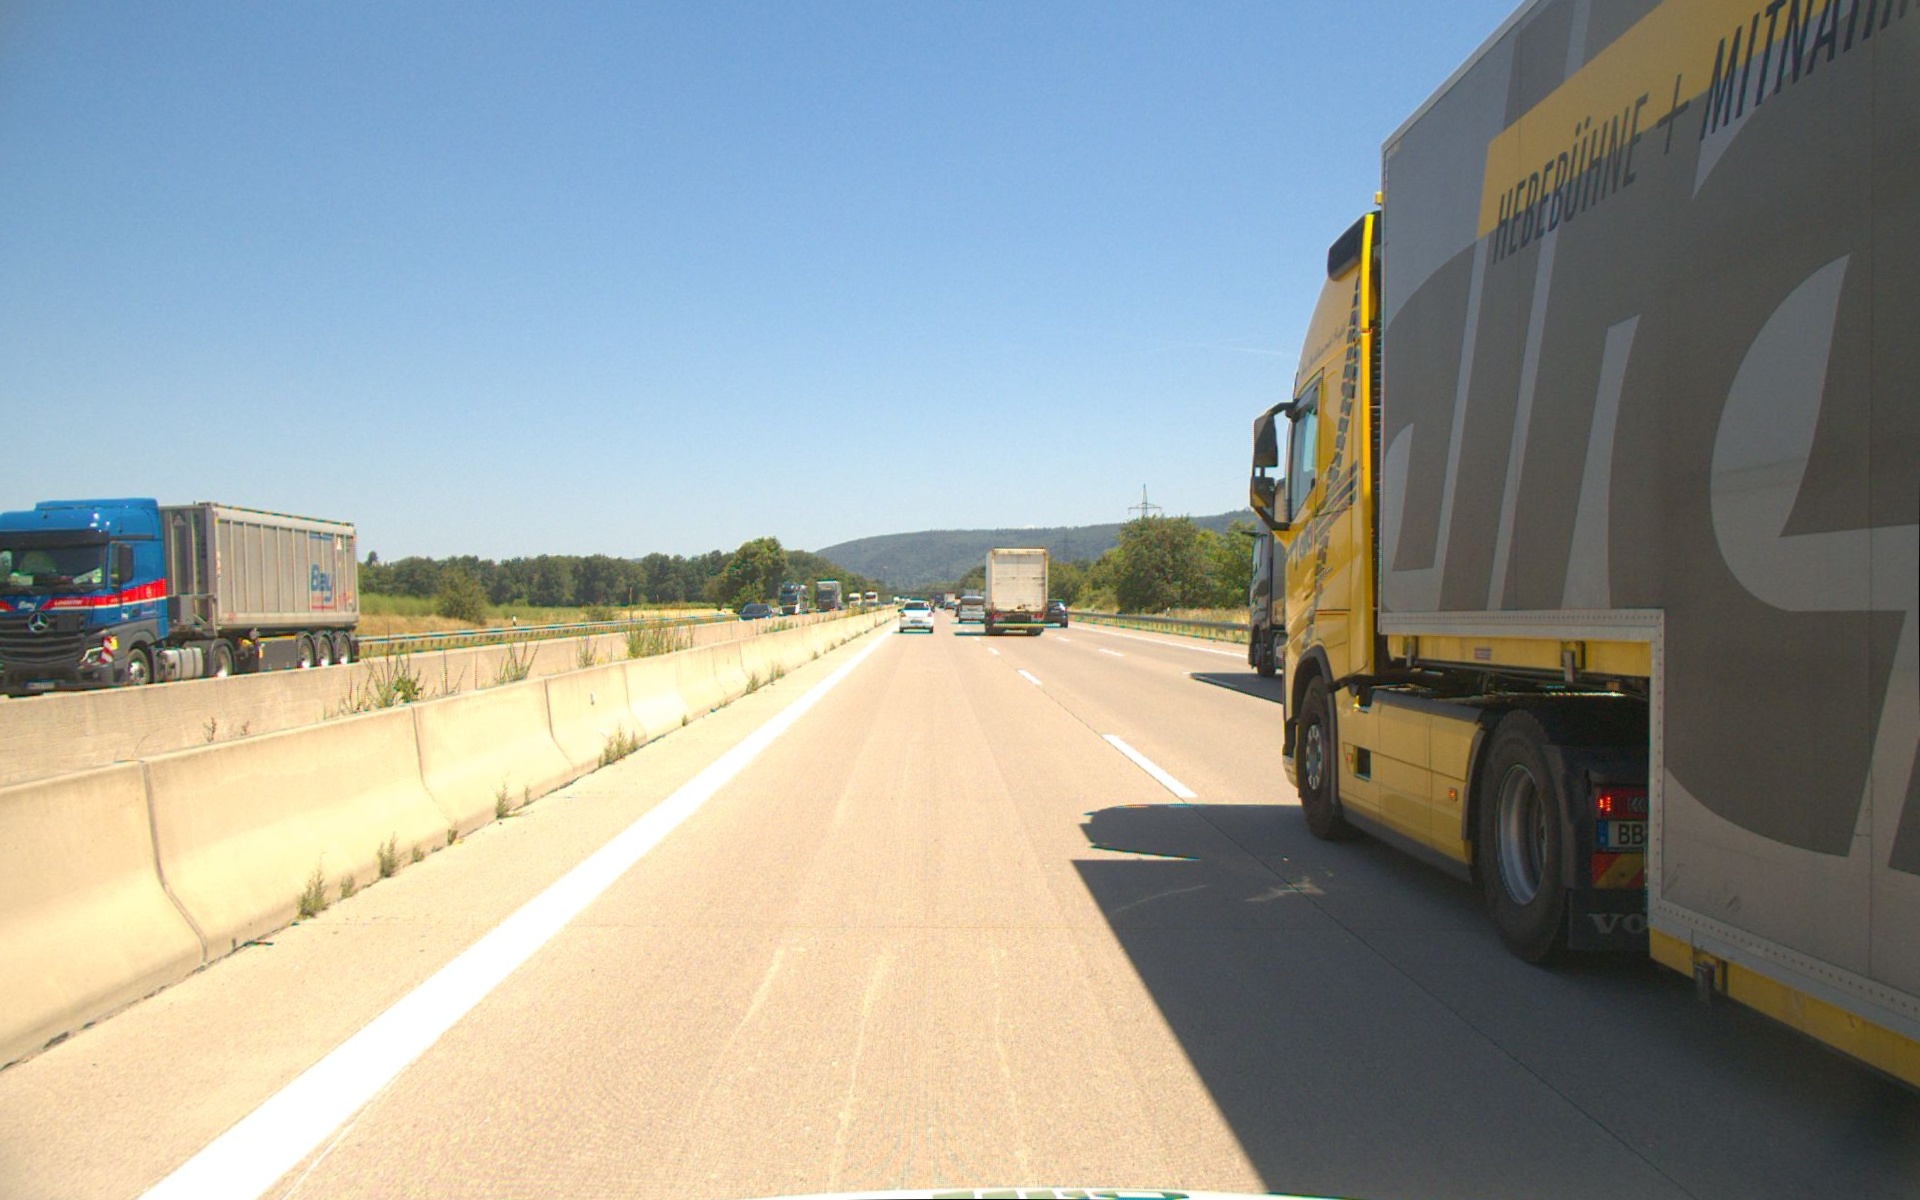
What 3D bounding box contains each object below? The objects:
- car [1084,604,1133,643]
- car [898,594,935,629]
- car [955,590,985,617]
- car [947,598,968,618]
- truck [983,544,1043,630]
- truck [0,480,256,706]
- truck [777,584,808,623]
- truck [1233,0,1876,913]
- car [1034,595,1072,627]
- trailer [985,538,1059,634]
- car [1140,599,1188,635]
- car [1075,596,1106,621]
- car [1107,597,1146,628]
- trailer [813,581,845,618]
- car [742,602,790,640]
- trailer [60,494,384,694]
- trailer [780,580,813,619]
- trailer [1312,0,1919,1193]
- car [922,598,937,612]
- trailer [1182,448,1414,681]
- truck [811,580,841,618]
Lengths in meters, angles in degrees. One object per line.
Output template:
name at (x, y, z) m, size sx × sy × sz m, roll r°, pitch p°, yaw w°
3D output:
car at (7.569, 1.170, 84.810) m, size 1.953 × 1.881 × 3.998 m, roll 3°, pitch 0°, yaw -2°
car at (-2.139, 0.545, 80.688) m, size 1.783 × 1.691 × 3.998 m, roll 0°, pitch 0°, yaw -2°
car at (0.694, 0.248, 118.142) m, size 1.953 × 1.881 × 3.998 m, roll 1°, pitch 0°, yaw -2°
car at (-0.275, 0.772, 166.716) m, size 1.953 × 1.881 × 3.998 m, roll 3°, pitch 0°, yaw -2°
truck at (2.503, -0.605, 79.310) m, size 2.529 × 3.945 × 4.982 m, roll 1°, pitch 0°, yaw -2°
truck at (-17.373, -0.116, 34.125) m, size 2.921 × 4.161 × 6.463 m, roll -2°, pitch 0°, yaw -1°
truck at (-20.236, 0.441, 200.573) m, size 3.166 × 4.687 × 6.248 m, roll 1°, pitch 0°, yaw -1°
truck at (3.209, -0.711, 10.300) m, size 1.953 × 4.329 × 5.192 m, roll 1°, pitch 0°, yaw -2°
car at (5.730, 0.681, 102.760) m, size 1.953 × 1.881 × 3.998 m, roll 3°, pitch 0°, yaw -2°
trailer at (2.668, -0.589, 74.023) m, size 2.529 × 3.945 × 10.369 m, roll 1°, pitch 0°, yaw -2°
car at (11.335, 0.926, 92.131) m, size 1.953 × 1.881 × 3.998 m, roll 3°, pitch 0°, yaw -2°
car at (10.404, 0.696, 131.937) m, size 1.953 × 1.881 × 3.998 m, roll 3°, pitch 0°, yaw -2°
car at (10.823, 0.799, 107.895) m, size 1.953 × 1.881 × 3.998 m, roll 3°, pitch 0°, yaw -2°
trailer at (-16.585, -0.031, 210.763) m, size 3.201 × 4.554 × 14.447 m, roll -1°, pitch 0°, yaw -1°
car at (-10.117, 1.078, 86.720) m, size 1.953 × 1.895 × 5.465 m, roll 1°, pitch 0°, yaw -1°
trailer at (-17.525, -0.121, 40.553) m, size 2.921 × 4.162 × 11.602 m, roll -1°, pitch 0°, yaw -1°
trailer at (-20.348, -0.039, 206.682) m, size 3.166 × 4.687 × 12.290 m, roll 1°, pitch 0°, yaw -1°
trailer at (3.440, -0.676, 2.790) m, size 1.953 × 4.329 × 15.194 m, roll 1°, pitch 0°, yaw -2°
car at (-4.245, 0.686, 227.986) m, size 1.953 × 1.881 × 3.998 m, roll 3°, pitch 0°, yaw -2°
trailer at (7.234, -0.643, 37.890) m, size 1.953 × 4.266 × 14.742 m, roll 1°, pitch 0°, yaw -1°
truck at (-16.443, -0.120, 203.615) m, size 3.201 × 4.554 × 7.187 m, roll -1°, pitch 0°, yaw -1°
